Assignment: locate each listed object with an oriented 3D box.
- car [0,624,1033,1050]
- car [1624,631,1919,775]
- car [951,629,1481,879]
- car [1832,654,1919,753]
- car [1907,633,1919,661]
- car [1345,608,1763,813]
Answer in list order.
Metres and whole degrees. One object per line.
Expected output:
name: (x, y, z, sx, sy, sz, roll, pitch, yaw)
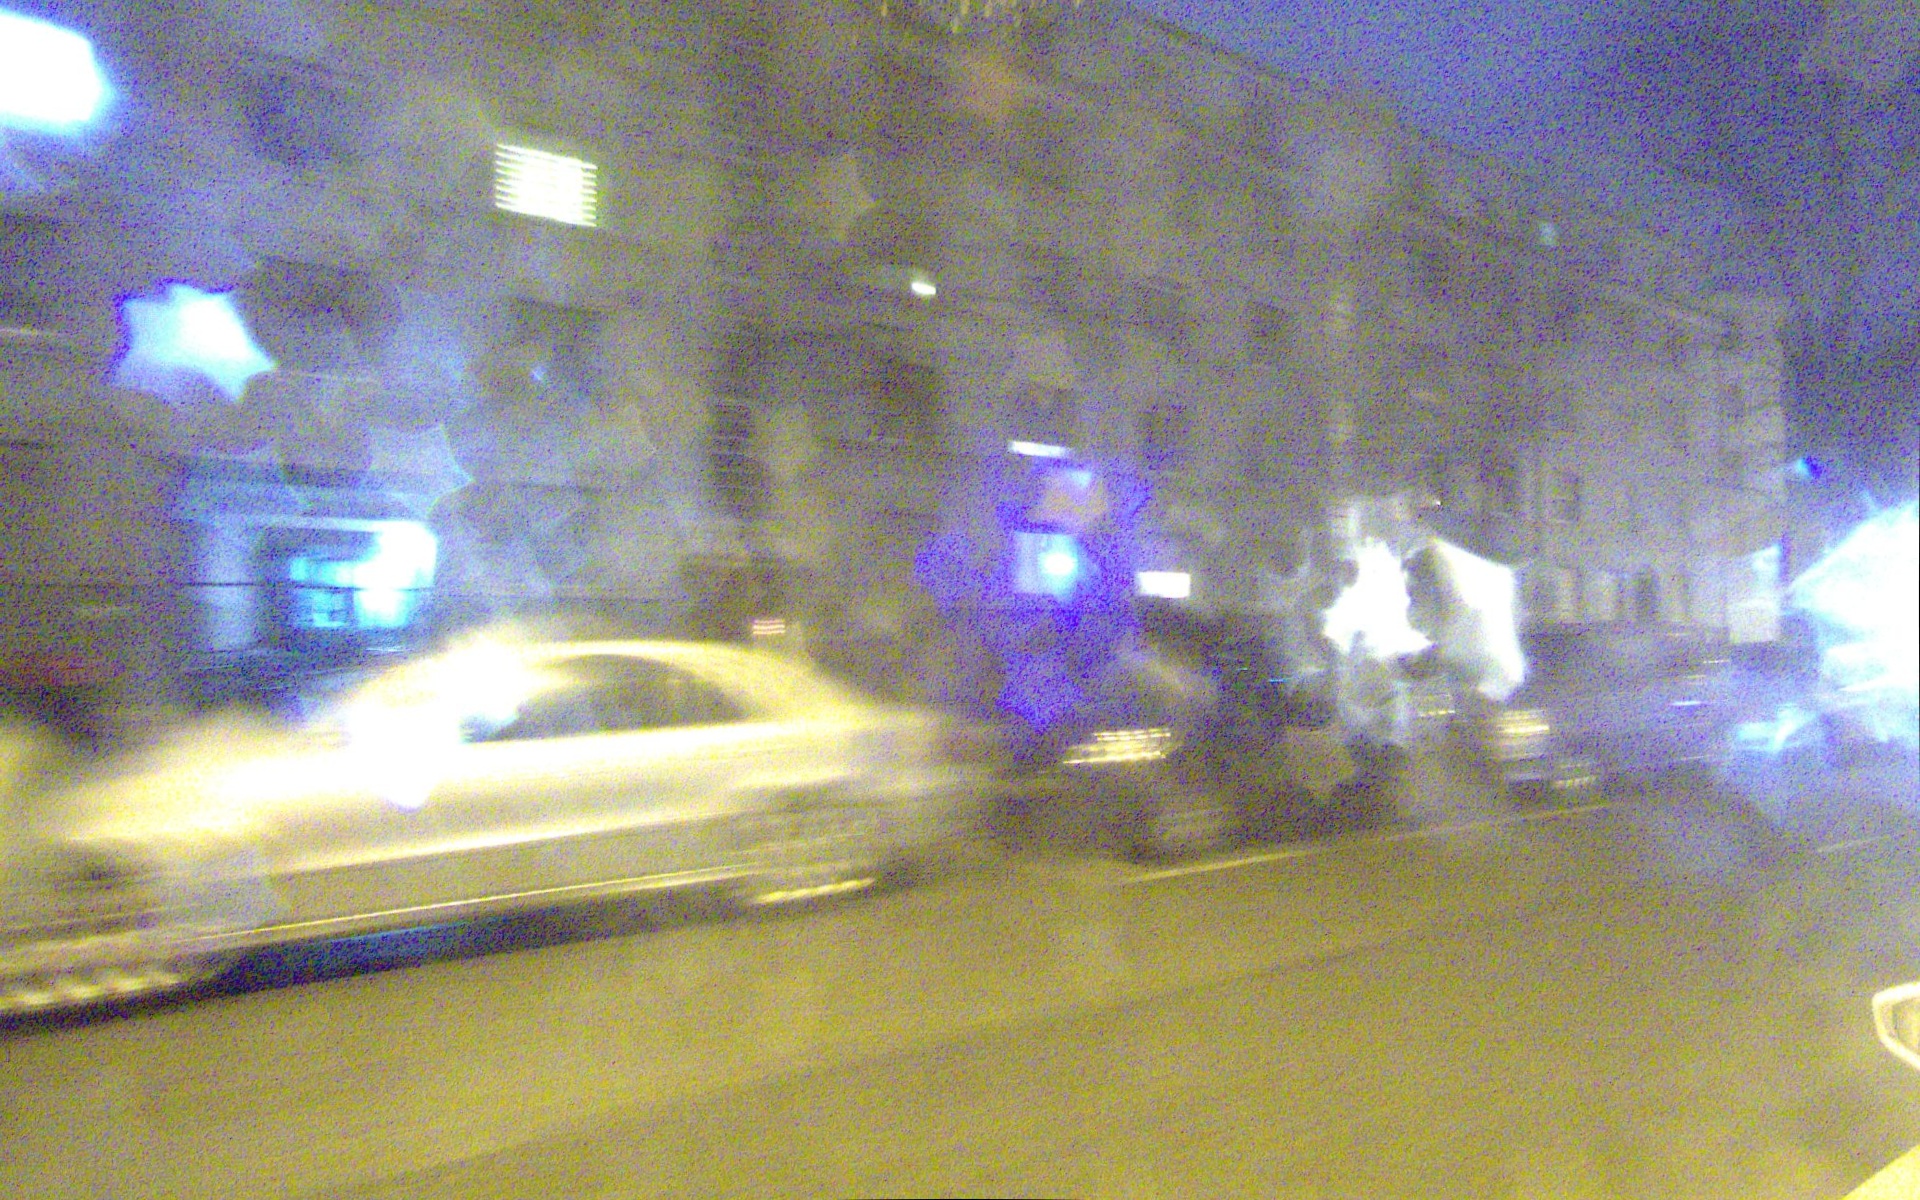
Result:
car: (-2.071, 0.931, 5.294, 4.879, 1.475, 1.629, 1, -5, -32)
car: (10.137, 1.186, 12.299, 4.224, 1.505, 1.591, 1, -5, -30)
car: (2.035, 1.004, 7.622, 3.961, 1.450, 1.590, 1, -5, -32)
car: (15.214, 1.512, 15.352, 4.019, 1.391, 1.591, 1, -5, -30)
car: (51.432, 2.413, 51.896, 3.849, 1.450, 1.716, 1, -2, -11)
car: (5.842, 0.981, 9.765, 4.208, 1.625, 1.591, 1, -5, -30)
